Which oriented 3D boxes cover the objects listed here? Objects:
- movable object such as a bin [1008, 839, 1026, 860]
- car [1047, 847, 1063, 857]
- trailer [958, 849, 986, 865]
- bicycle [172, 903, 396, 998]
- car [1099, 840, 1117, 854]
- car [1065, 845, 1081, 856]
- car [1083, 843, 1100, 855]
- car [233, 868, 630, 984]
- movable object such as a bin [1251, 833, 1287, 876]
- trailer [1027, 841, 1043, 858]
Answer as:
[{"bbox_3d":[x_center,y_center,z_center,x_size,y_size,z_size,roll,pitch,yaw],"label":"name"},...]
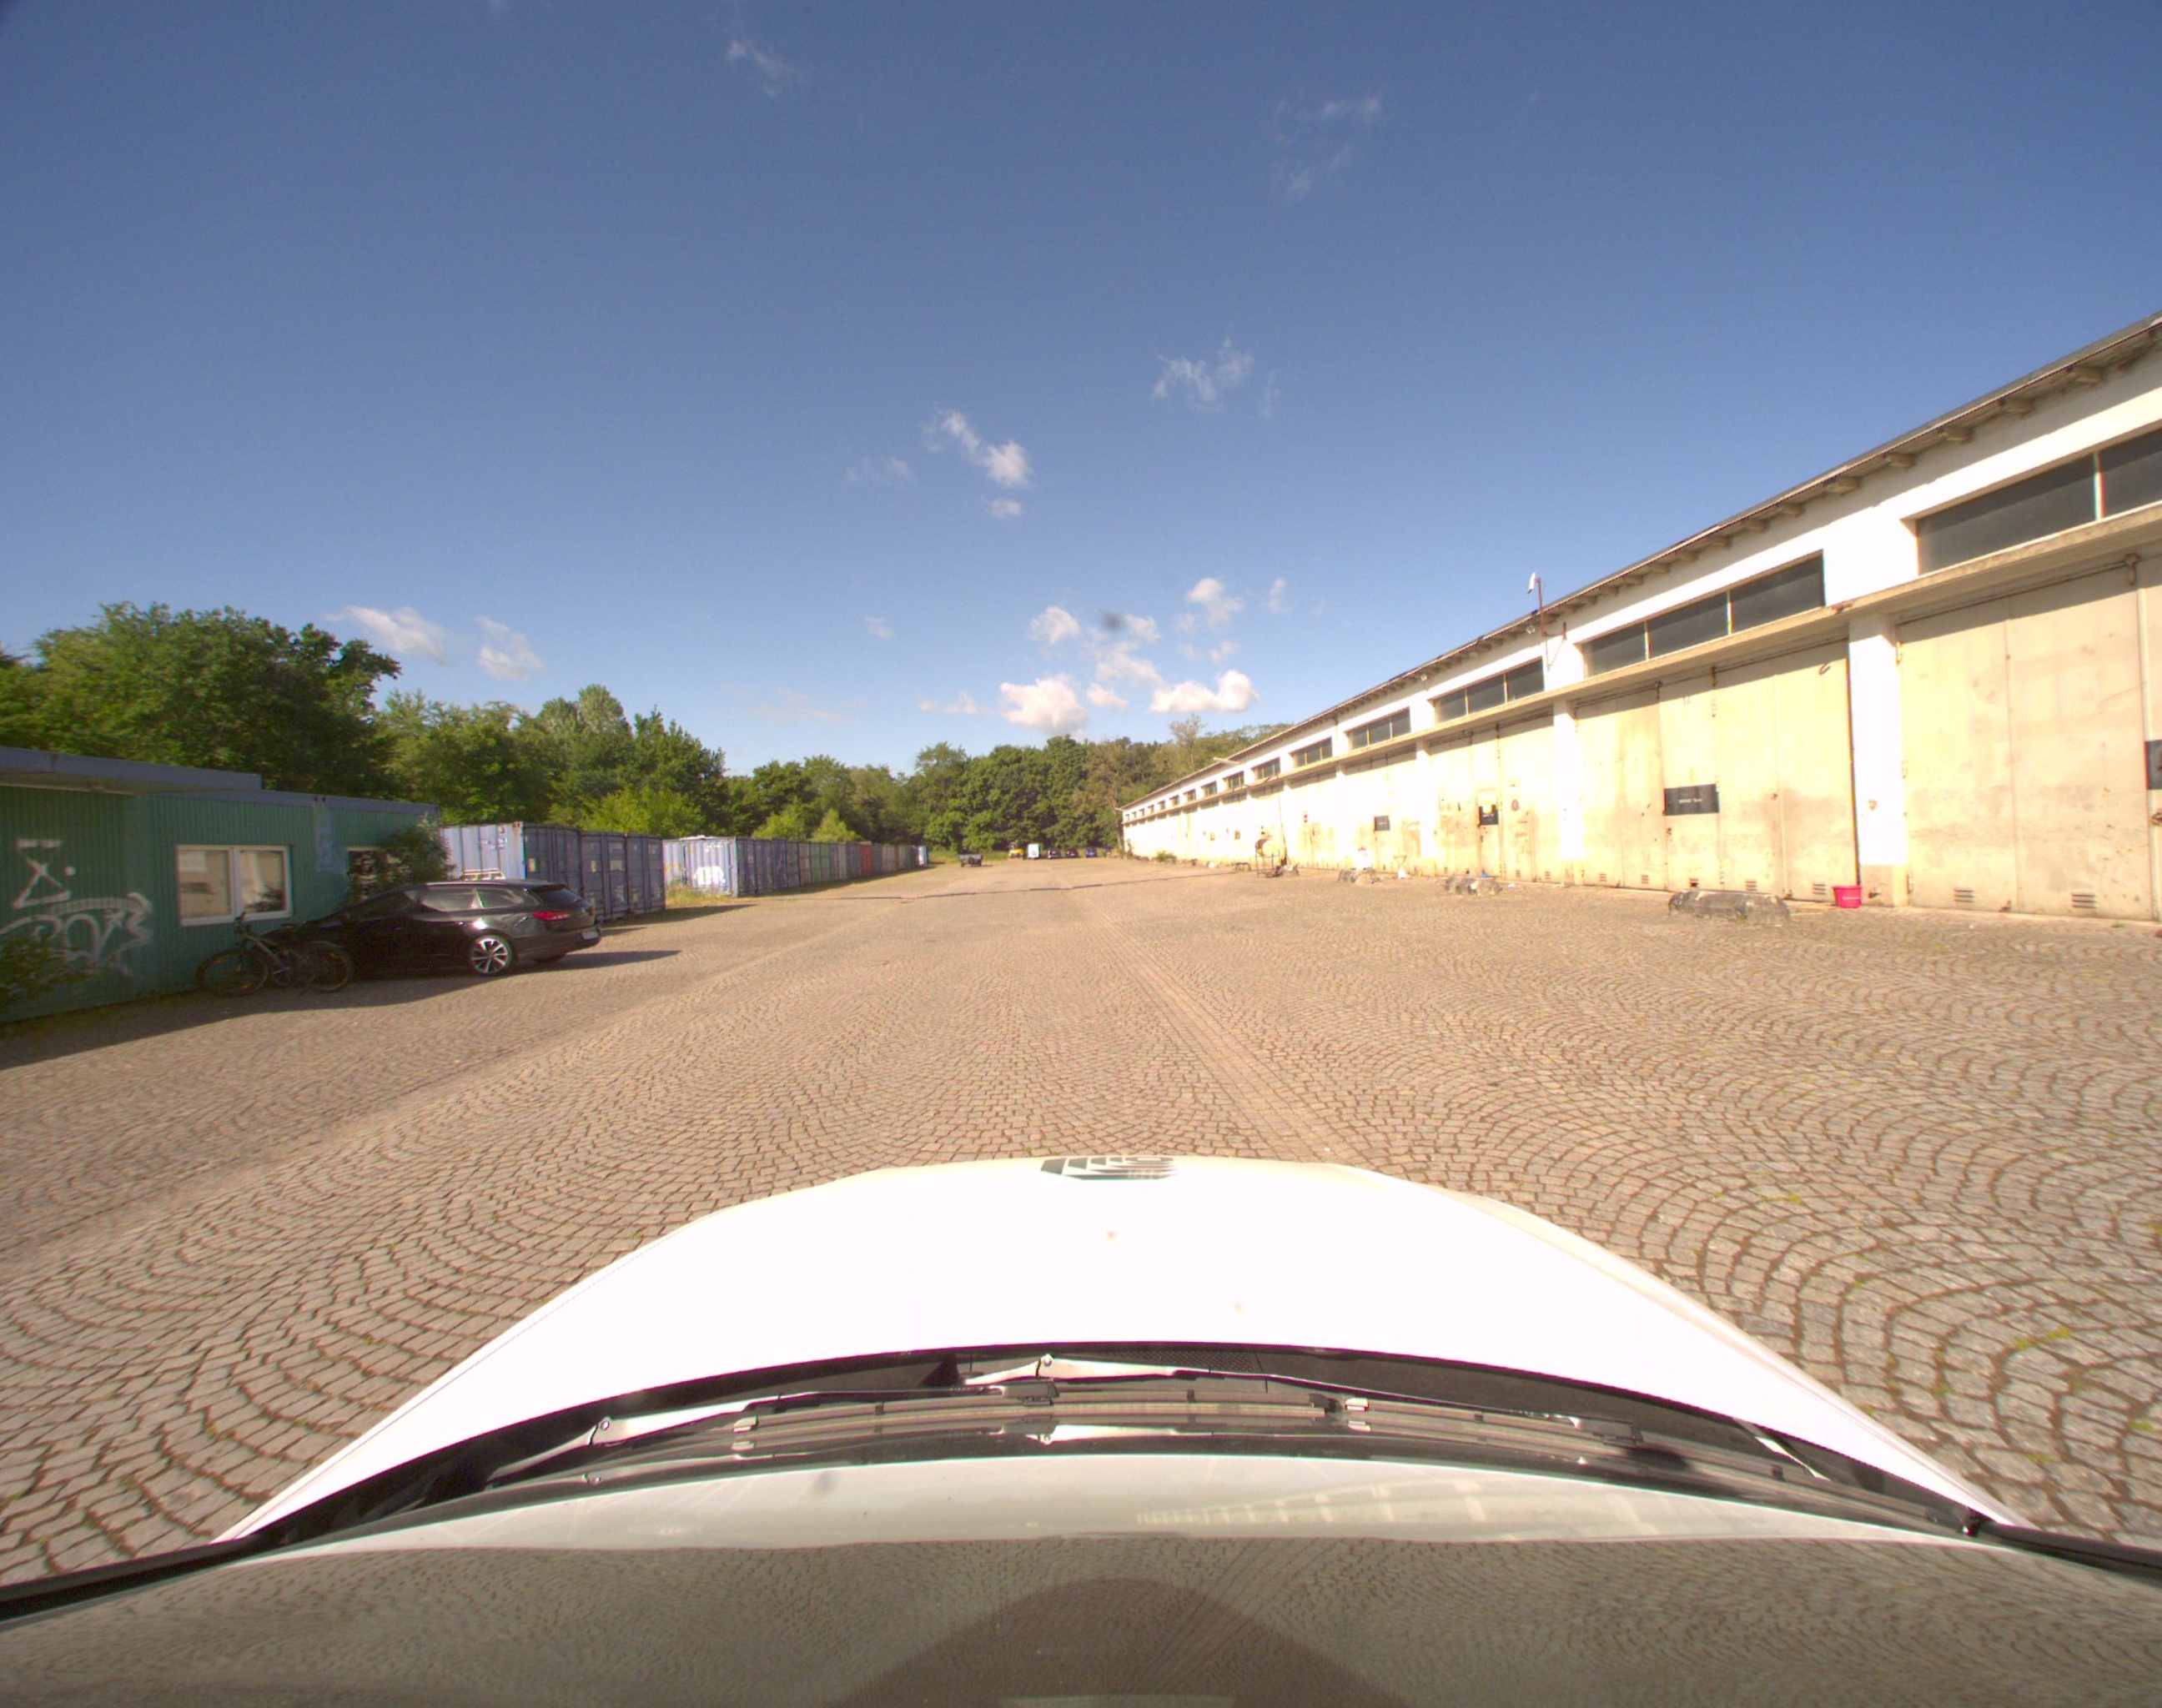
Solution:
[{"bbox_3d":[-8.874,-0.662,112.385,2.229,2.657,3.992,-3,1,-6],"label":"movable object such as a bin"},{"bbox_3d":[-3.618,-0.311,110.776,1.990,1.258,3.995,-3,1,-4],"label":"car"},{"bbox_3d":[-12.355,0.348,92.795,2.786,1.646,5.612,-3,1,-4],"label":"trailer"},{"bbox_3d":[-10.723,1.271,11.041,1.873,1.027,1.036,-3,1,-6],"label":"bicycle"},{"bbox_3d":[3.714,-0.937,112.919,1.990,1.772,3.995,-3,1,-4],"label":"car"},{"bbox_3d":[-1.128,-0.484,111.331,1.990,1.424,3.995,-3,1,-4],"label":"car"},{"bbox_3d":[1.446,-0.672,111.508,1.990,1.466,3.995,-3,1,-4],"label":"car"},{"bbox_3d":[-9.862,1.044,12.757,4.411,1.464,1.995,-2,0,-7],"label":"car"},{"bbox_3d":[6.506,0.016,28.221,0.873,1.401,1.100,-3,0,-5],"label":"movable object such as a bin"},{"bbox_3d":[-6.371,-0.641,111.809,1.990,2.162,4.425,-3,1,-4],"label":"trailer"}]
